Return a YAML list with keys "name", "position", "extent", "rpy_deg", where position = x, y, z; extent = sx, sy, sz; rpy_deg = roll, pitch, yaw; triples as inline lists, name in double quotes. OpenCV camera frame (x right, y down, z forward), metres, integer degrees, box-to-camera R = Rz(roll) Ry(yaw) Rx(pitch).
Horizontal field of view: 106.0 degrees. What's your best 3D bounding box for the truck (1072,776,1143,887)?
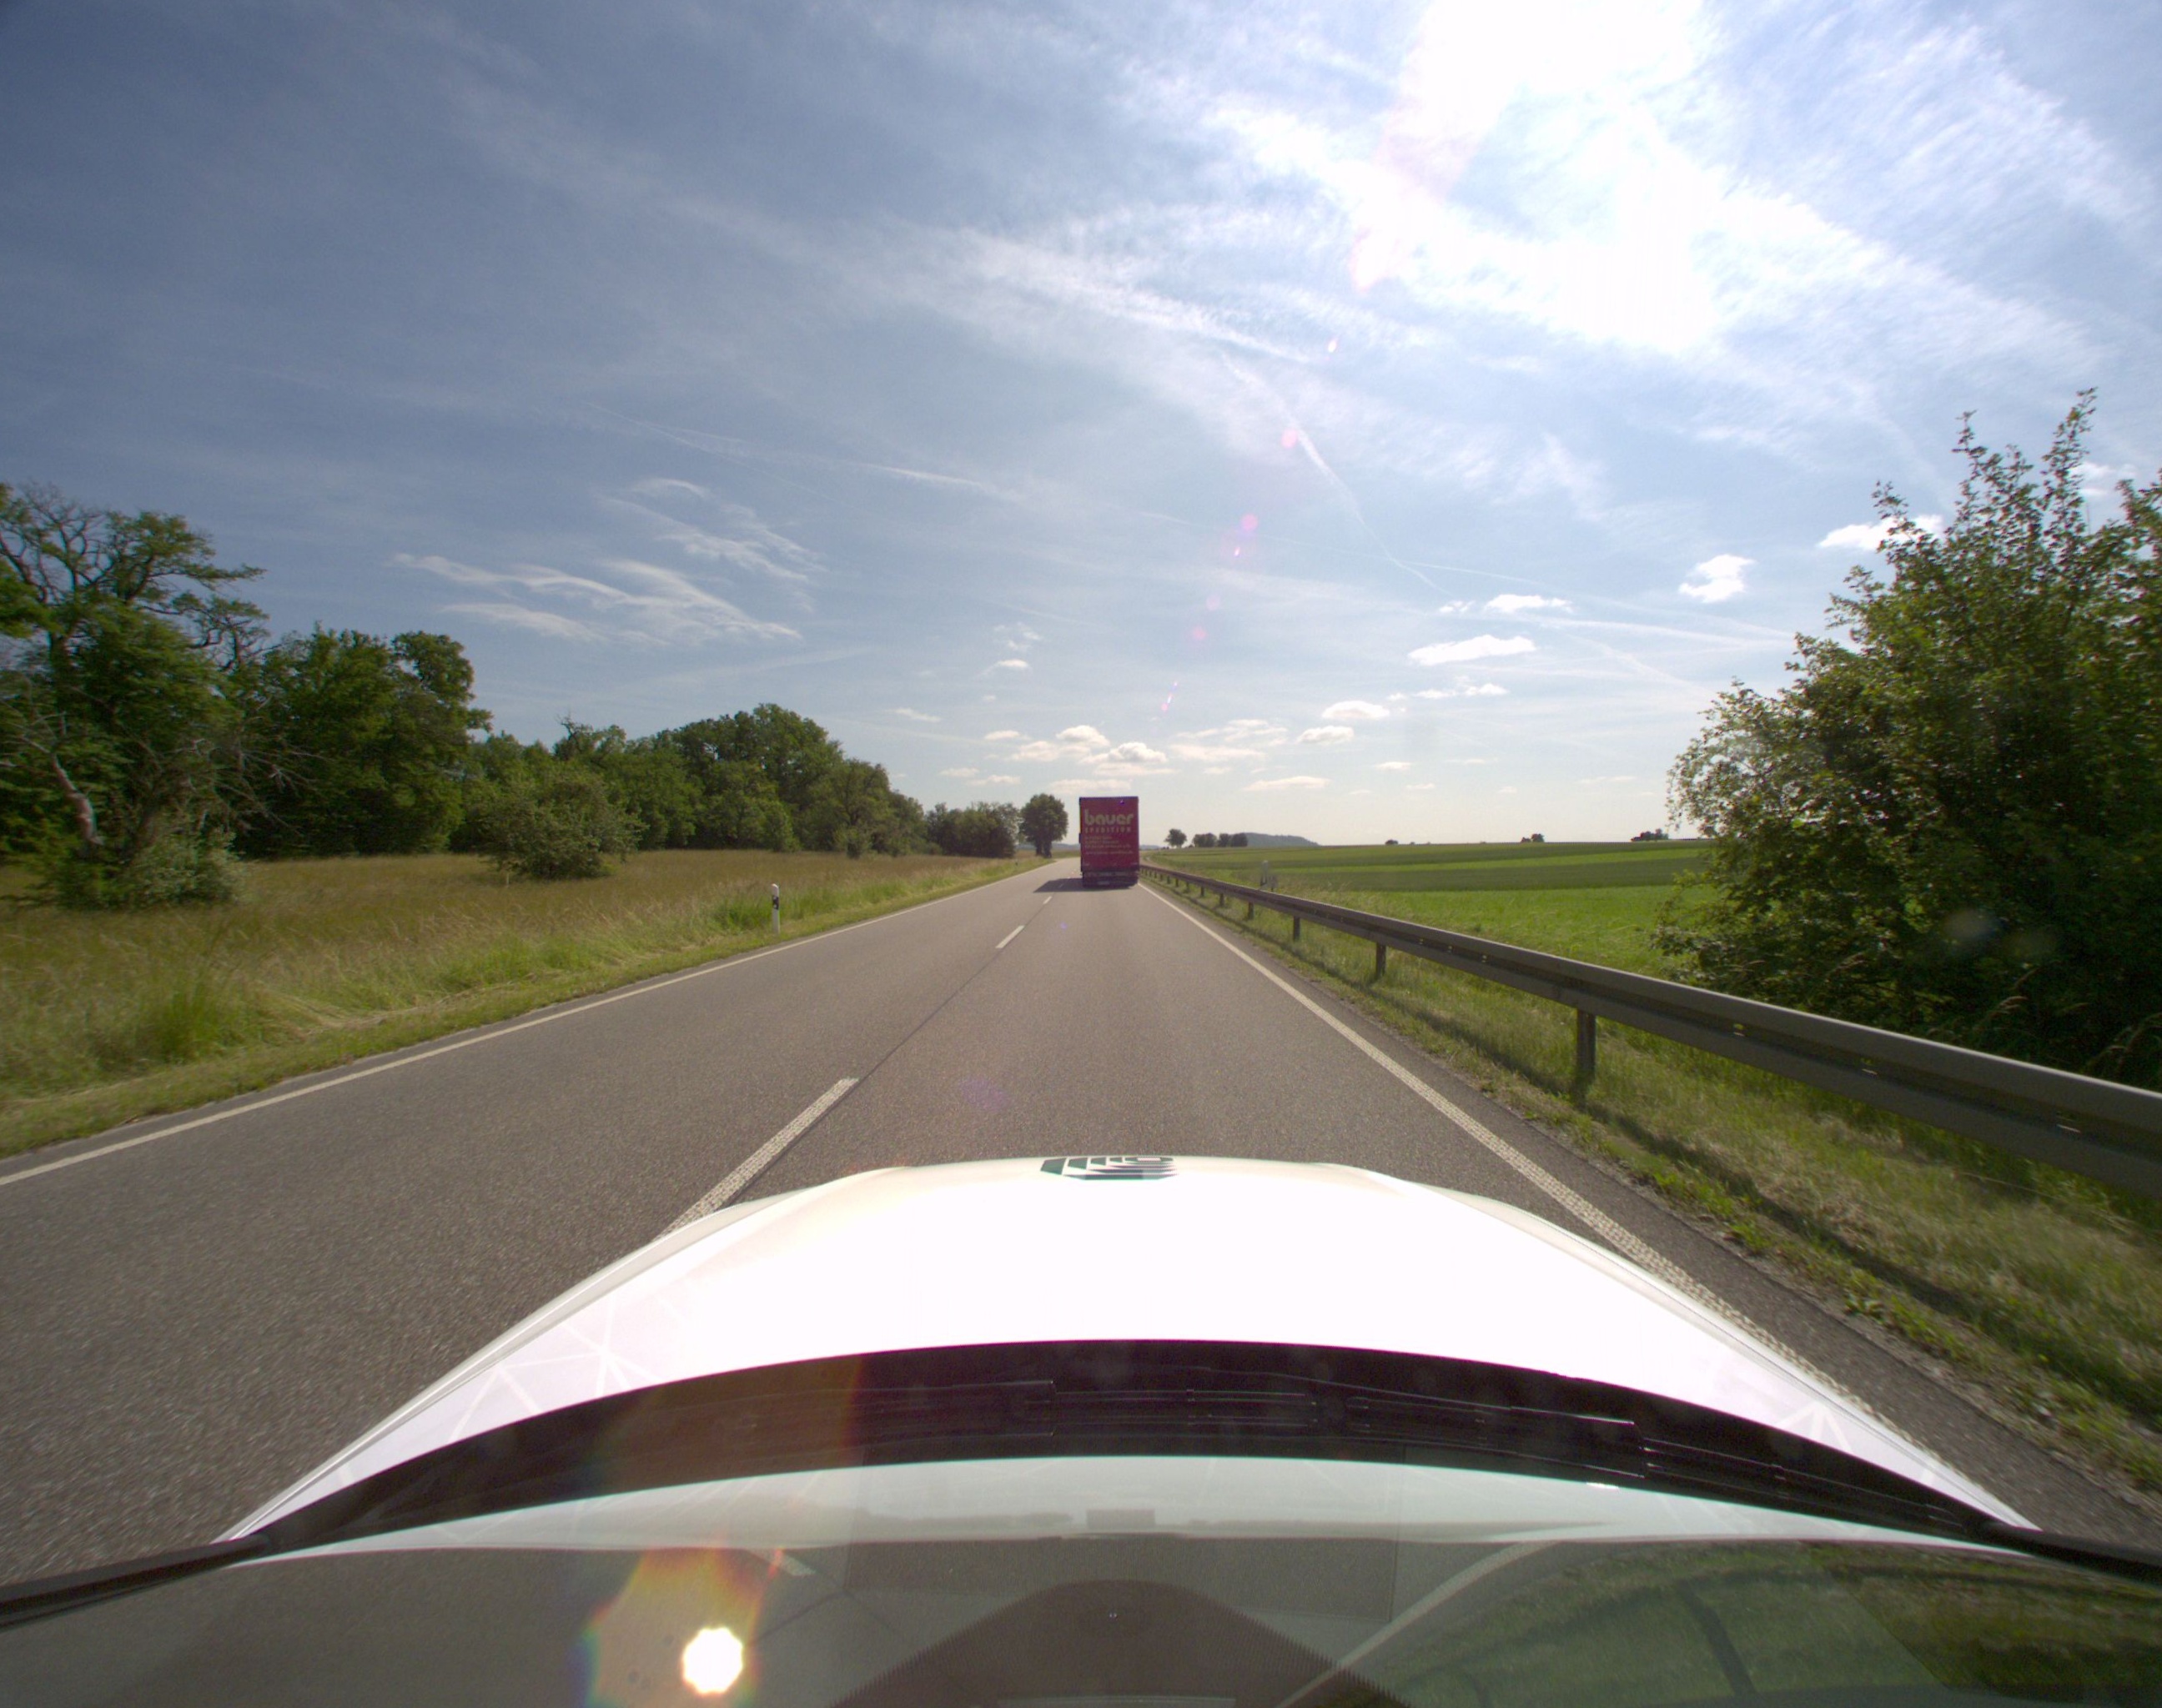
- name: "truck"
  position: [1.212, -0.914, 39.198]
  extent: [2.965, 4.713, 9.366]
  rpy_deg: [0, -1, 1]
